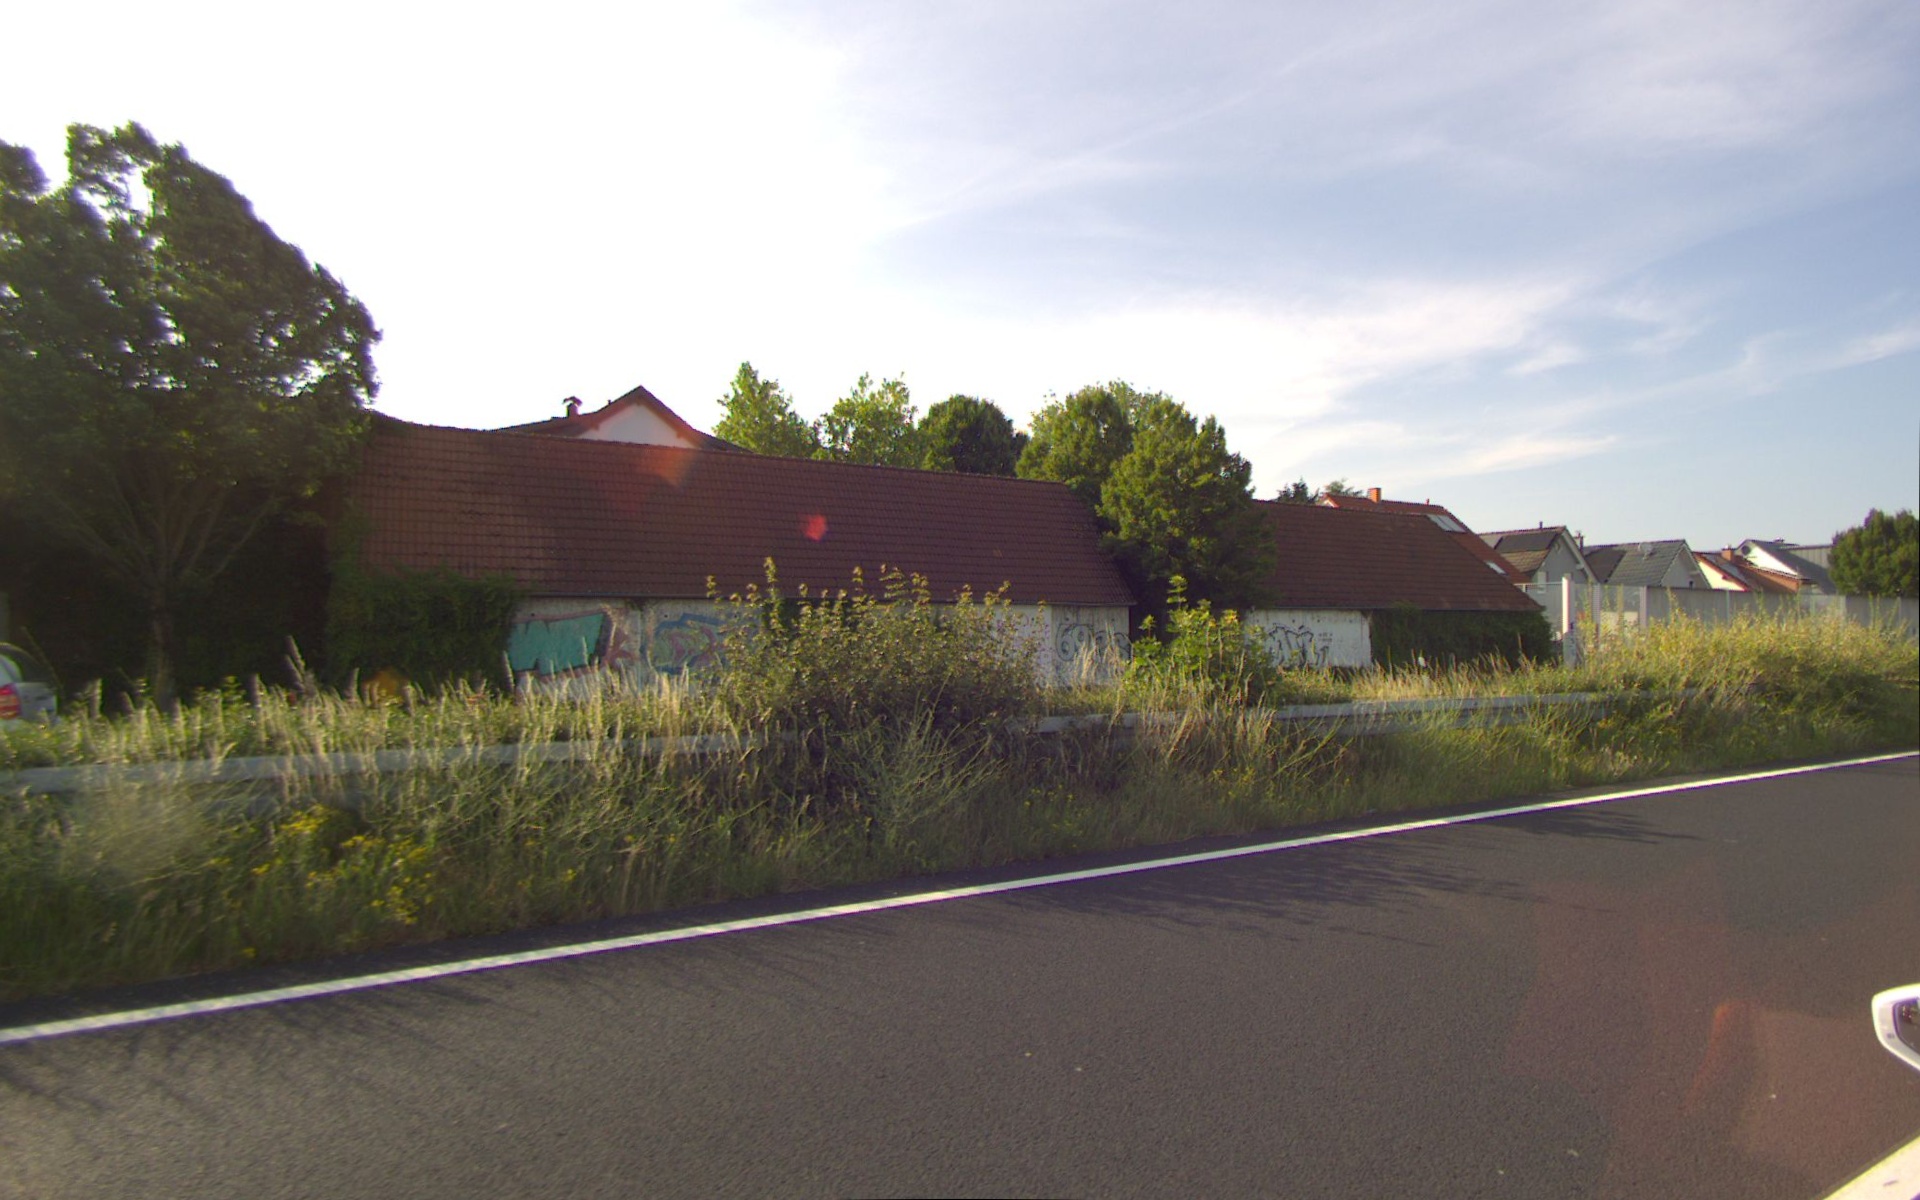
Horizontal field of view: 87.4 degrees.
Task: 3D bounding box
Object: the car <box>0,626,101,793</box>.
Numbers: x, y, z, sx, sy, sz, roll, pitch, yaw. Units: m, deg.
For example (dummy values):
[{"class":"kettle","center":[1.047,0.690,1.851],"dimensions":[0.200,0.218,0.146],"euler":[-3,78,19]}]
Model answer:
[{"class":"car","center":[-10.985,1.019,9.440],"dimensions":[4.137,1.528,1.680],"euler":[2,0,-31]}]
